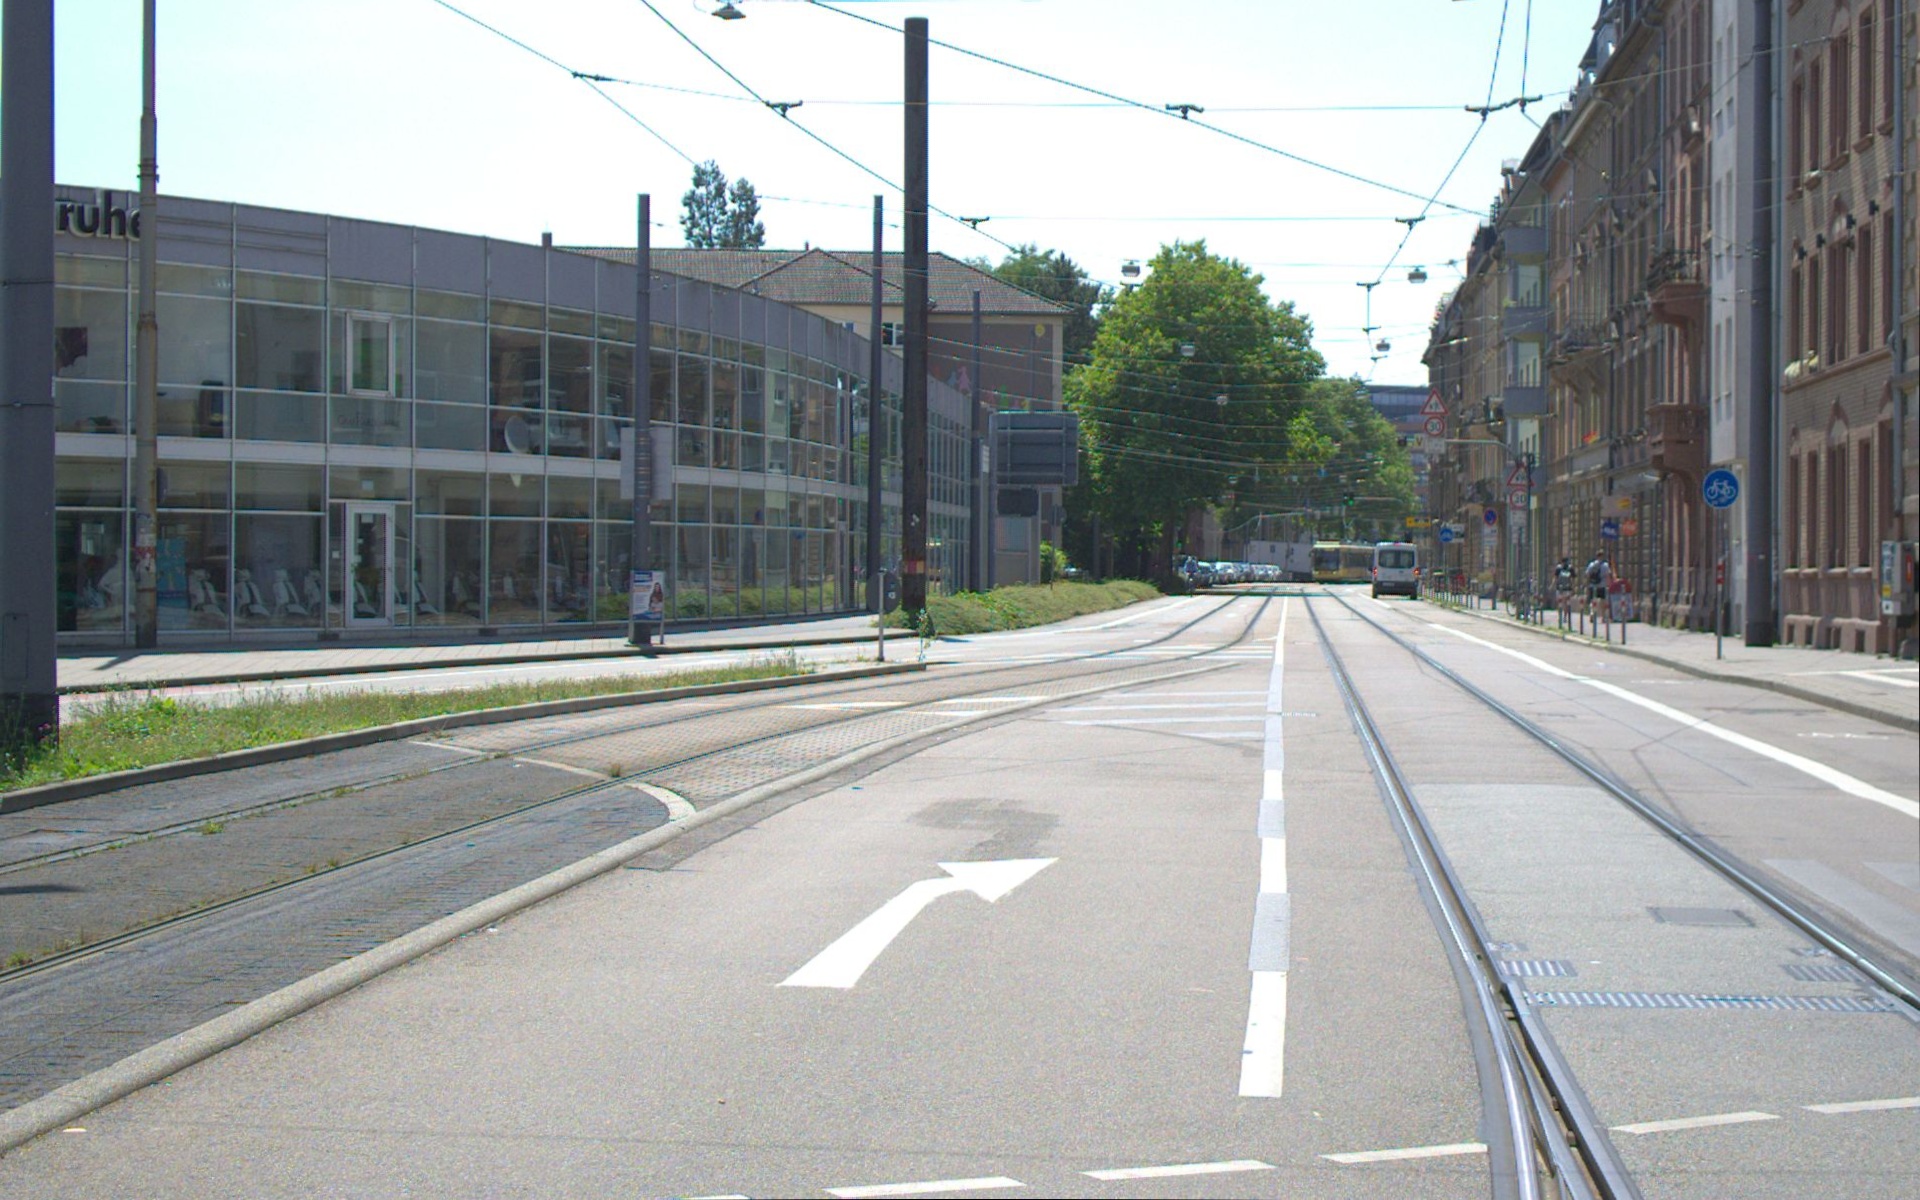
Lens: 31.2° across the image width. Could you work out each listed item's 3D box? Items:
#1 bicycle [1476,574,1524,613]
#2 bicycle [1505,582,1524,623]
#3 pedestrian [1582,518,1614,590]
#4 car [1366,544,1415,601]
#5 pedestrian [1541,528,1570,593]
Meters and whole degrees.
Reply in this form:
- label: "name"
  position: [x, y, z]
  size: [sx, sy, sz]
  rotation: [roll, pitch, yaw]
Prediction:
- label: "bicycle"
  position: [16.044, -0.206, 102.087]
  size: [0.500, 1.127, 2.238]
  rotation: [0, 1, 34]
- label: "bicycle"
  position: [15.267, 0.057, 94.660]
  size: [0.448, 1.093, 2.421]
  rotation: [0, 1, 11]
- label: "pedestrian"
  position: [16.705, -1.190, 90.028]
  size: [0.702, 1.842, 0.643]
  rotation: [-3, 0, 7]
- label: "car"
  position: [19.595, -1.269, 156.617]
  size: [2.068, 2.492, 5.453]
  rotation: [2, 1, 7]
- label: "pedestrian"
  position: [15.675, -1.038, 90.473]
  size: [0.720, 1.714, 0.643]
  rotation: [0, 0, 7]
